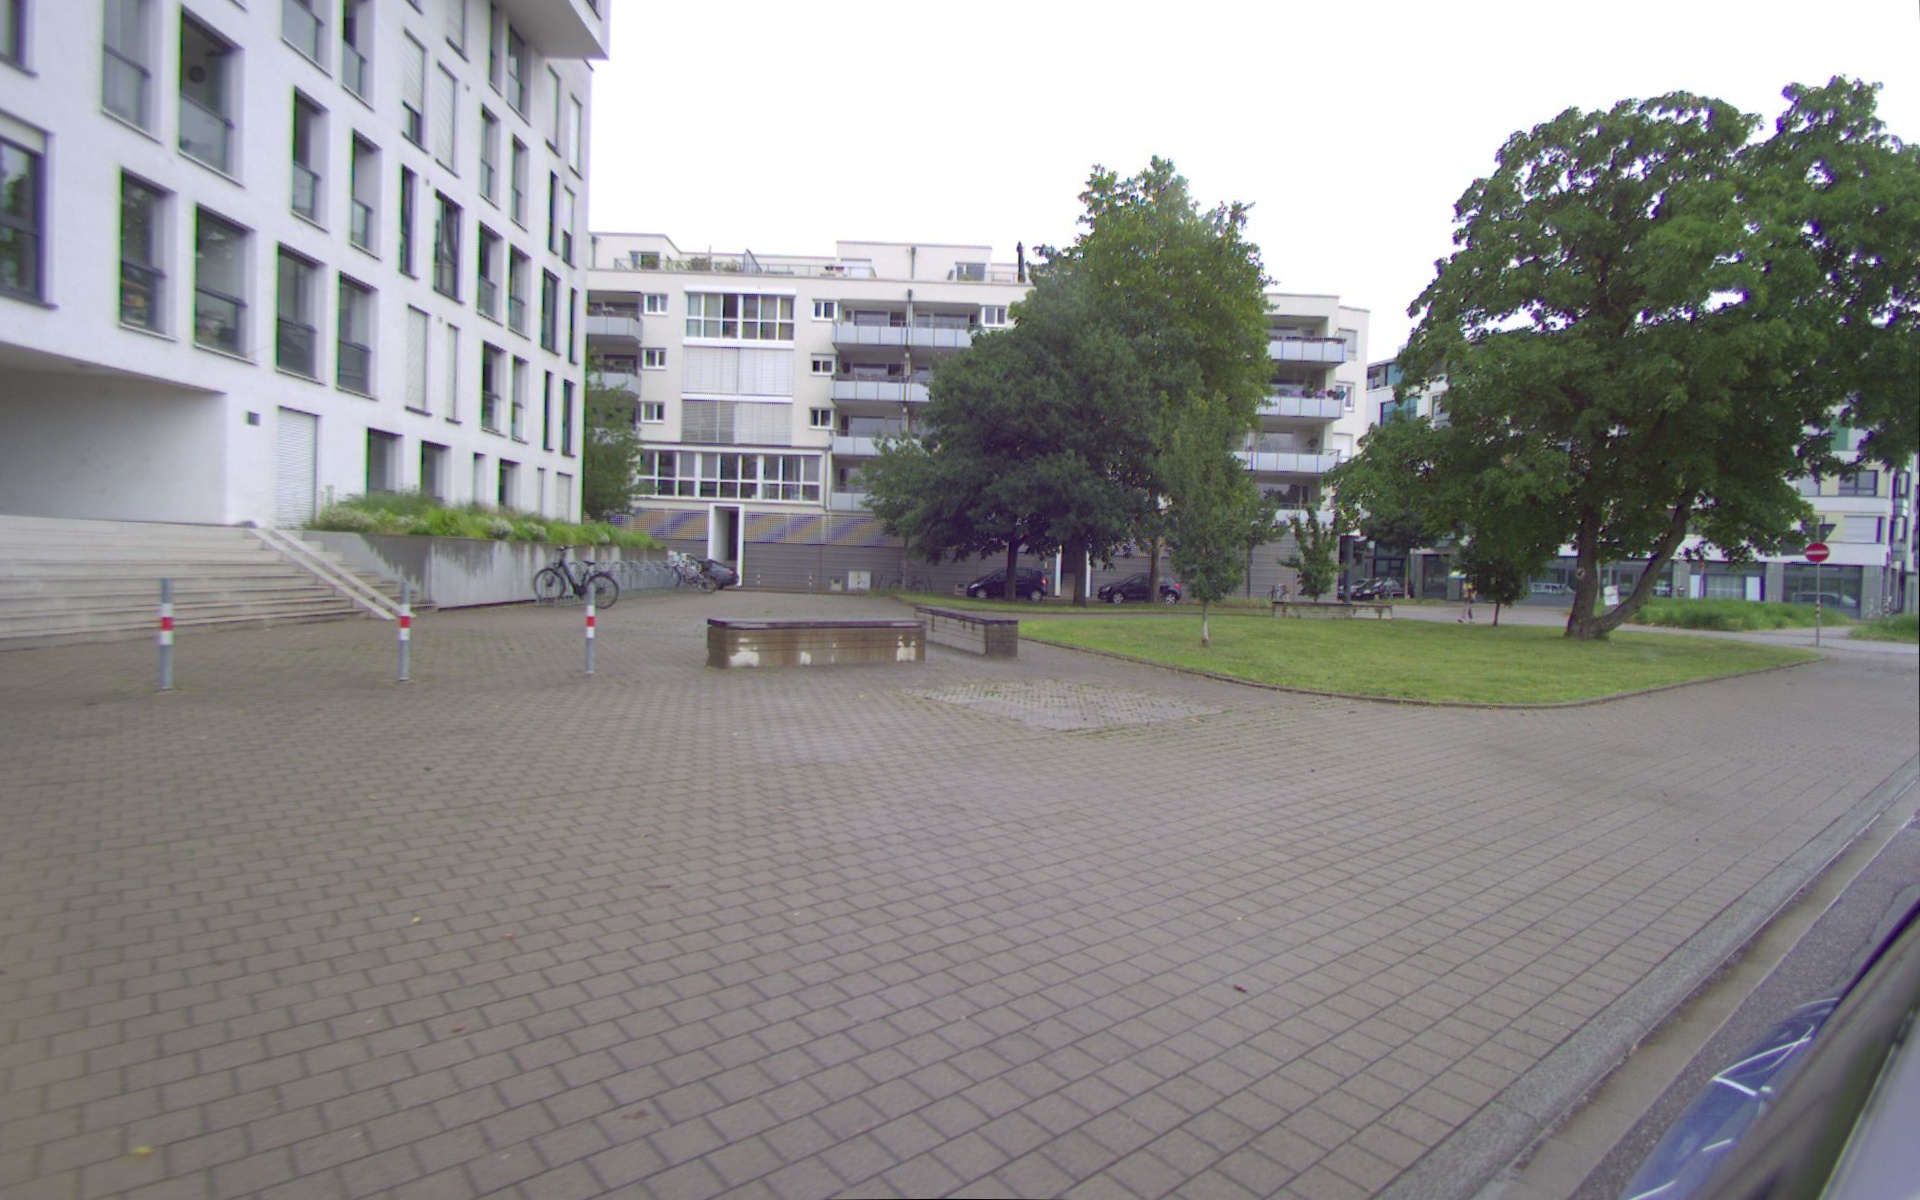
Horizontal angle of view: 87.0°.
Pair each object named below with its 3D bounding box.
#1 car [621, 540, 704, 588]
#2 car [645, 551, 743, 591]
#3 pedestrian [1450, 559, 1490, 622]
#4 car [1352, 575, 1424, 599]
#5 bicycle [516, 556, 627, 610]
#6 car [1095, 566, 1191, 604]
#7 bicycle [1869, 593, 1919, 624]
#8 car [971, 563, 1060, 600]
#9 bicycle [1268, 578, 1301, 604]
[{"bbox_3d":[-10.898,-1.270,37.390,1.594,1.526,4.836,2,0,0],"label":"car"},{"bbox_3d":[-12.296,-1.347,46.915,4.064,1.567,1.776,3,3,-1],"label":"car"},{"bbox_3d":[17.133,-0.323,34.032,0.611,2.038,0.967,1,2,-40],"label":"pedestrian"},{"bbox_3d":[29.706,-0.900,70.197,4.428,1.450,1.818,1,2,-18],"label":"car"},{"bbox_3d":[-8.117,-0.365,21.176,2.033,1.046,0.725,2,2,-1],"label":"bicycle"},{"bbox_3d":[8.422,-0.706,46.850,4.041,1.567,1.736,2,2,-1],"label":"car"},{"bbox_3d":[52.241,0.463,56.463,0.617,1.541,2.200,2,2,-20],"label":"bicycle"},{"bbox_3d":[2.529,-0.876,46.821,3.923,1.567,1.736,2,2,-1],"label":"car"},{"bbox_3d":[15.066,-0.423,47.008,0.712,1.101,2.485,2,2,0],"label":"bicycle"}]
